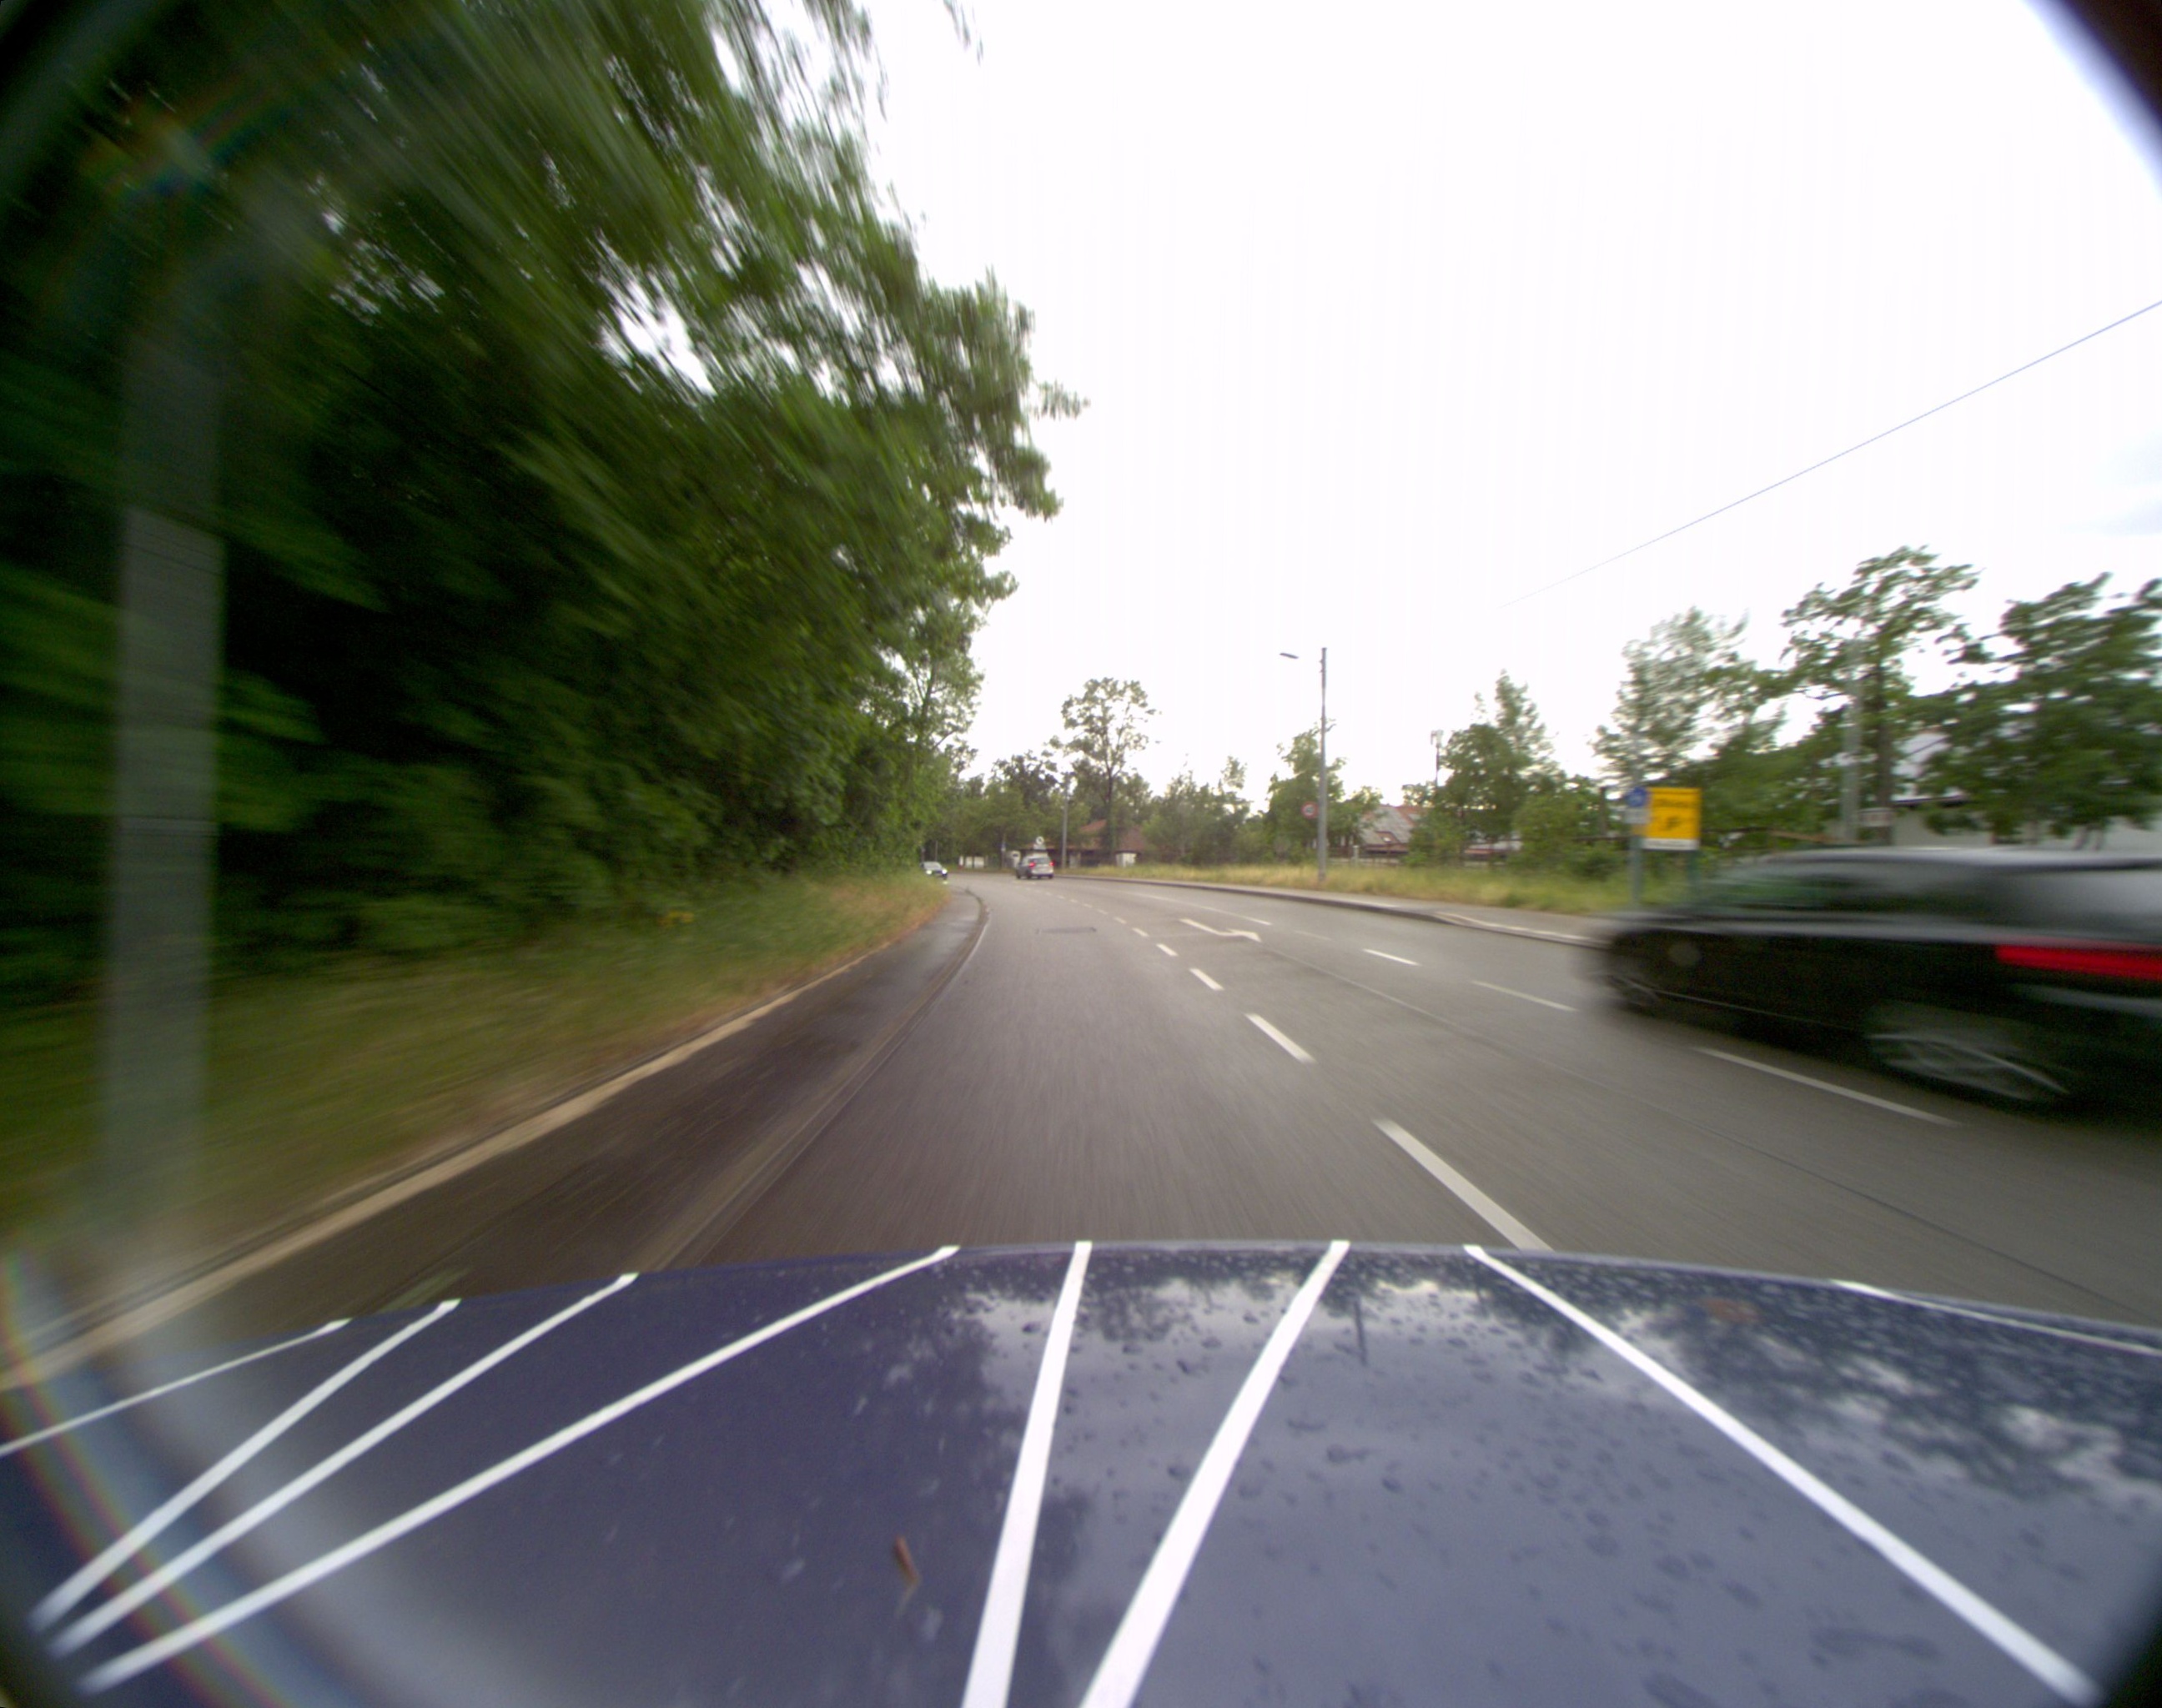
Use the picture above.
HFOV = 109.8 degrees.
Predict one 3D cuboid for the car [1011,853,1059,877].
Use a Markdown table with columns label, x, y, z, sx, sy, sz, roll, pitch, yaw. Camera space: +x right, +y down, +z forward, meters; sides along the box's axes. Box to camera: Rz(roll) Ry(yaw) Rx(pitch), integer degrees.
| label | x | y | z | sx | sy | sz | roll | pitch | yaw |
| --- | --- | --- | --- | --- | --- | --- | --- | --- | --- |
| car | -3.337 | 0.762 | 54.518 | 1.767 | 1.605 | 4.409 | -2 | 0 | -27 |

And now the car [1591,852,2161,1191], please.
| label | x | y | z | sx | sy | sz | roll | pitch | yaw |
| --- | --- | --- | --- | --- | --- | --- | --- | --- | --- |
| car | 5.581 | 0.751 | 5.161 | 1.599 | 1.468 | 3.792 | -2 | 0 | -1 |
